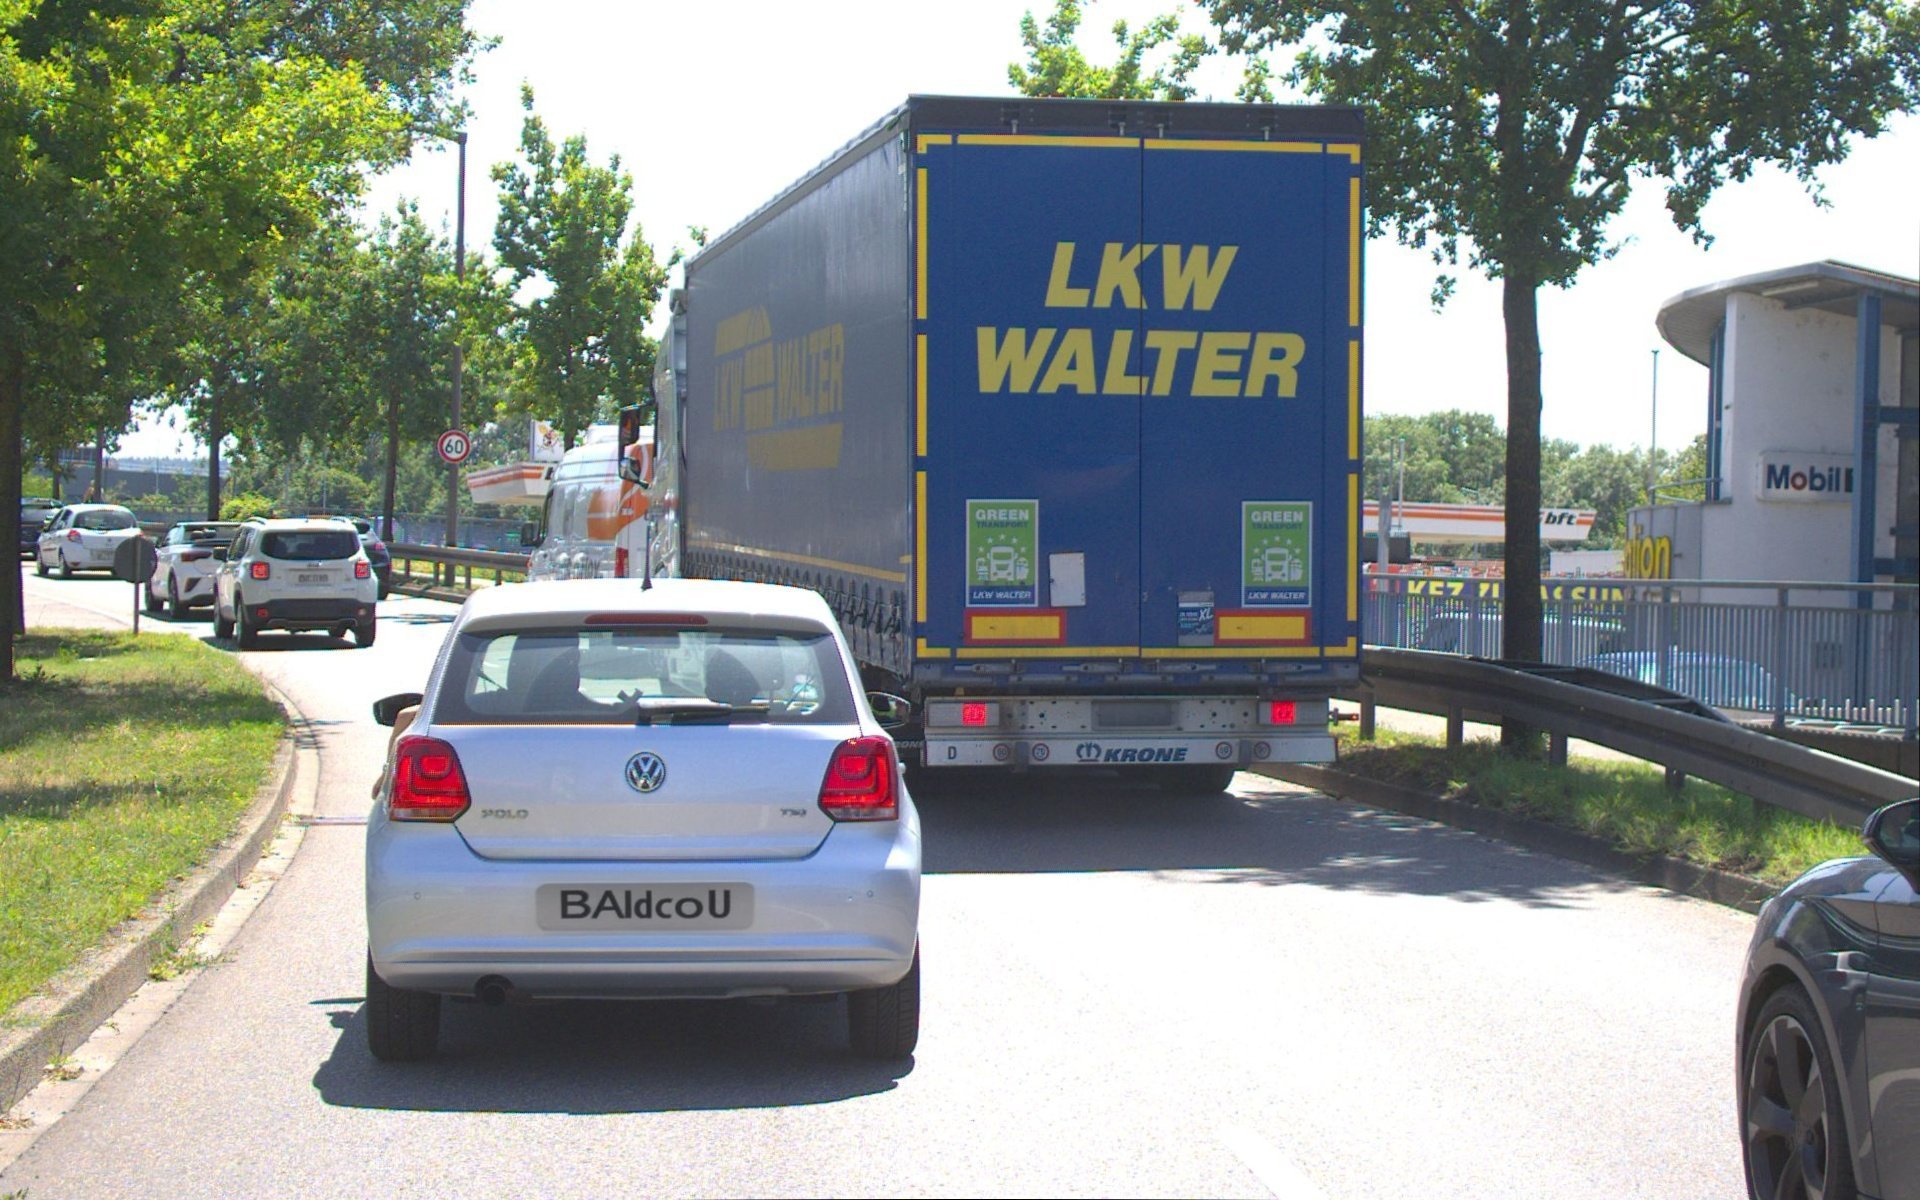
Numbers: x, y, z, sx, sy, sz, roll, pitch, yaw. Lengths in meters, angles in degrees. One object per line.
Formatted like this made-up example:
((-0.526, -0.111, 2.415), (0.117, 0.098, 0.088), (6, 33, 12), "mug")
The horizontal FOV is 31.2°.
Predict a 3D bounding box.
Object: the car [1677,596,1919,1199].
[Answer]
((2.658, 0.746, 5.654), (1.604, 1.451, 4.236), (1, 0, -7), "car")

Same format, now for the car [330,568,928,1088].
((-1.023, 0.635, 11.425), (1.646, 1.434, 3.537), (1, 0, -3), "car")

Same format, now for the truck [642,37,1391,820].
((-0.423, -1.071, 26.863), (2.832, 4.184, 16.479), (1, 1, -9), "truck")

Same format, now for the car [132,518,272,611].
((-11.846, -0.576, 53.610), (1.494, 1.355, 3.664), (1, 1, -22), "car")

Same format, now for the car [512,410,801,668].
((-3.860, -0.810, 42.397), (2.175, 2.890, 6.360), (1, 2, -17), "car")

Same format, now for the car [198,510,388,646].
((-9.043, -0.299, 46.373), (1.903, 1.712, 4.225), (1, 0, -19), "car")

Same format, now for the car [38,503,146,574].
((-17.498, -1.262, 69.209), (1.607, 1.355, 3.664), (1, 1, -22), "car")
